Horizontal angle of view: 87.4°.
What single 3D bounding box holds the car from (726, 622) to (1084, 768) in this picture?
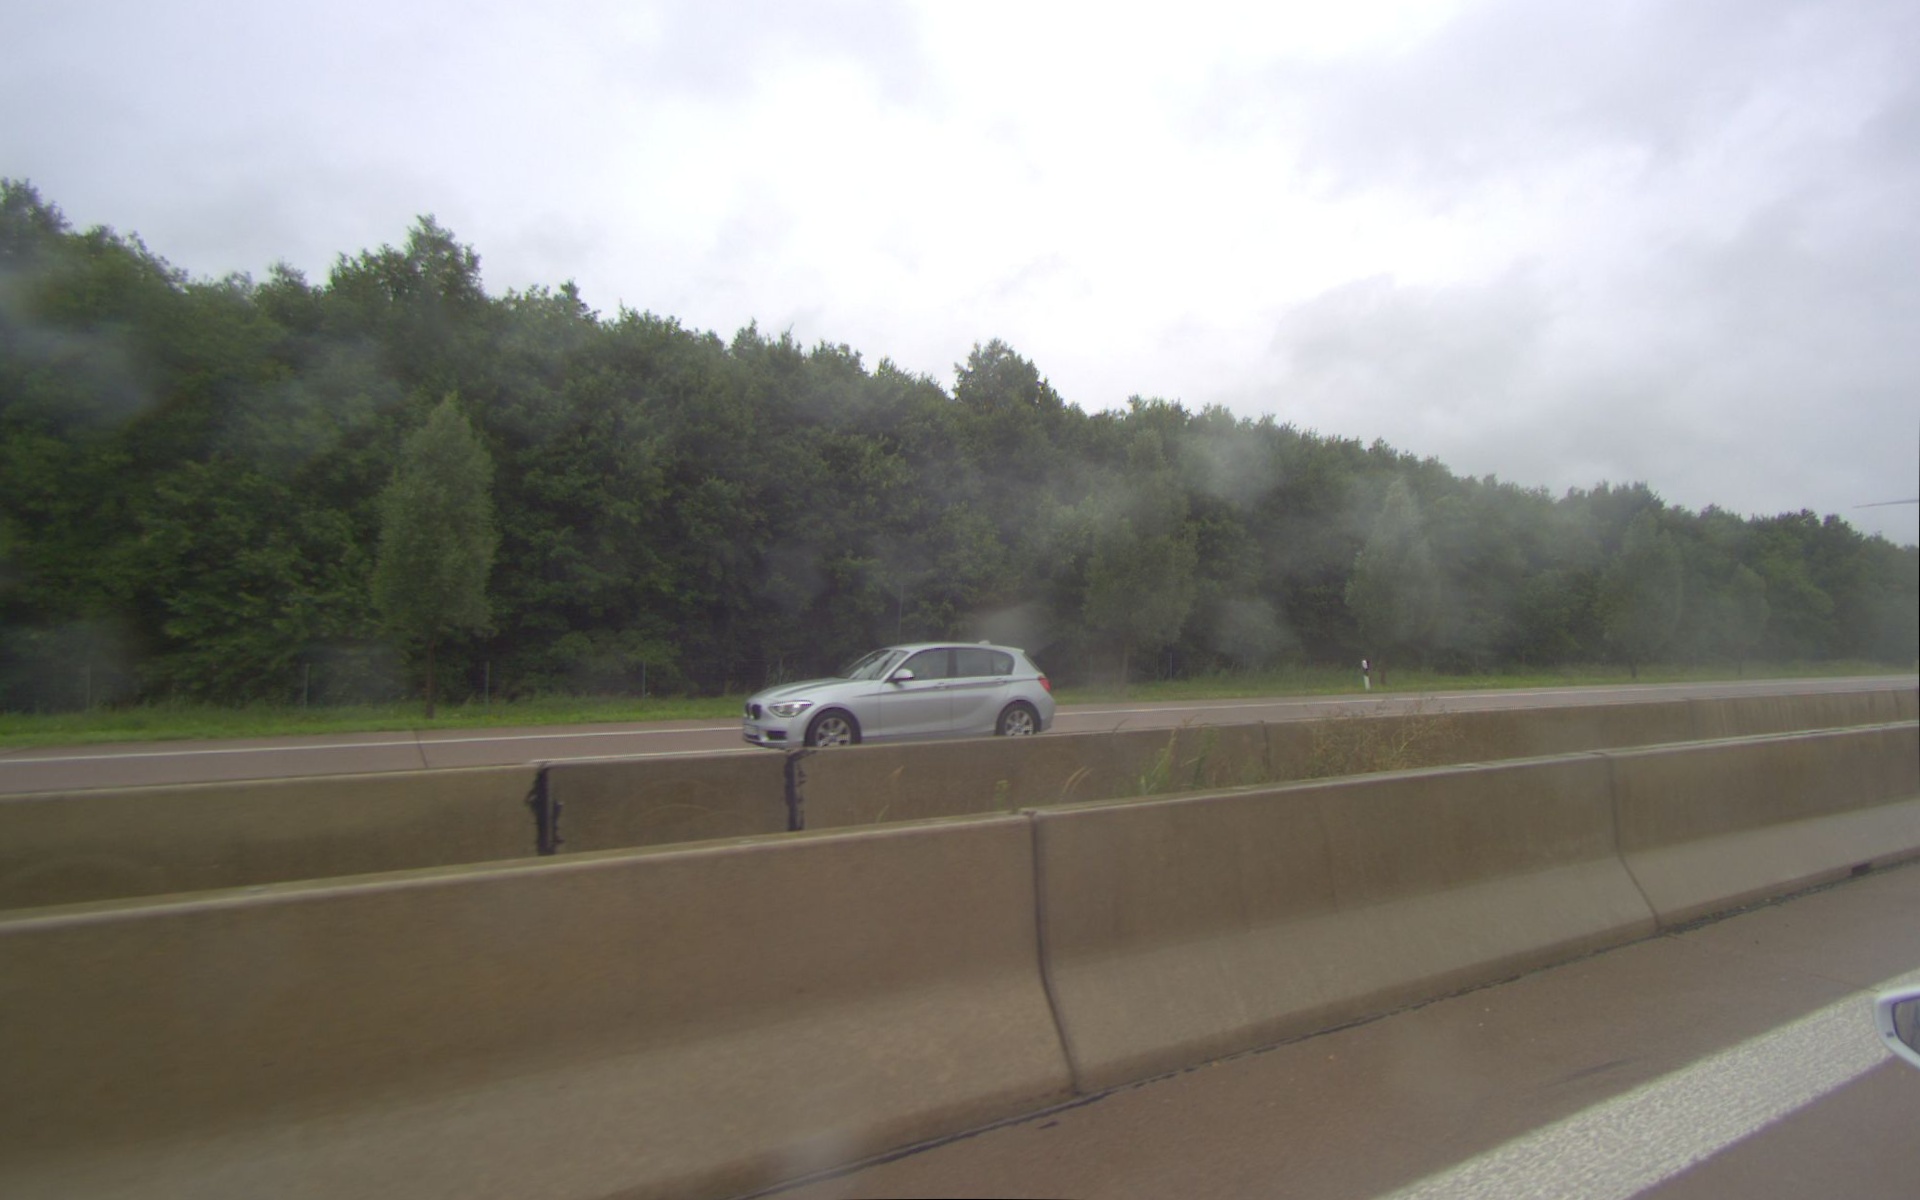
[{"bbox_3d":[-0.671,1.162,13.383,4.453,1.653,1.800,1,-3,-31],"label":"car"}]
